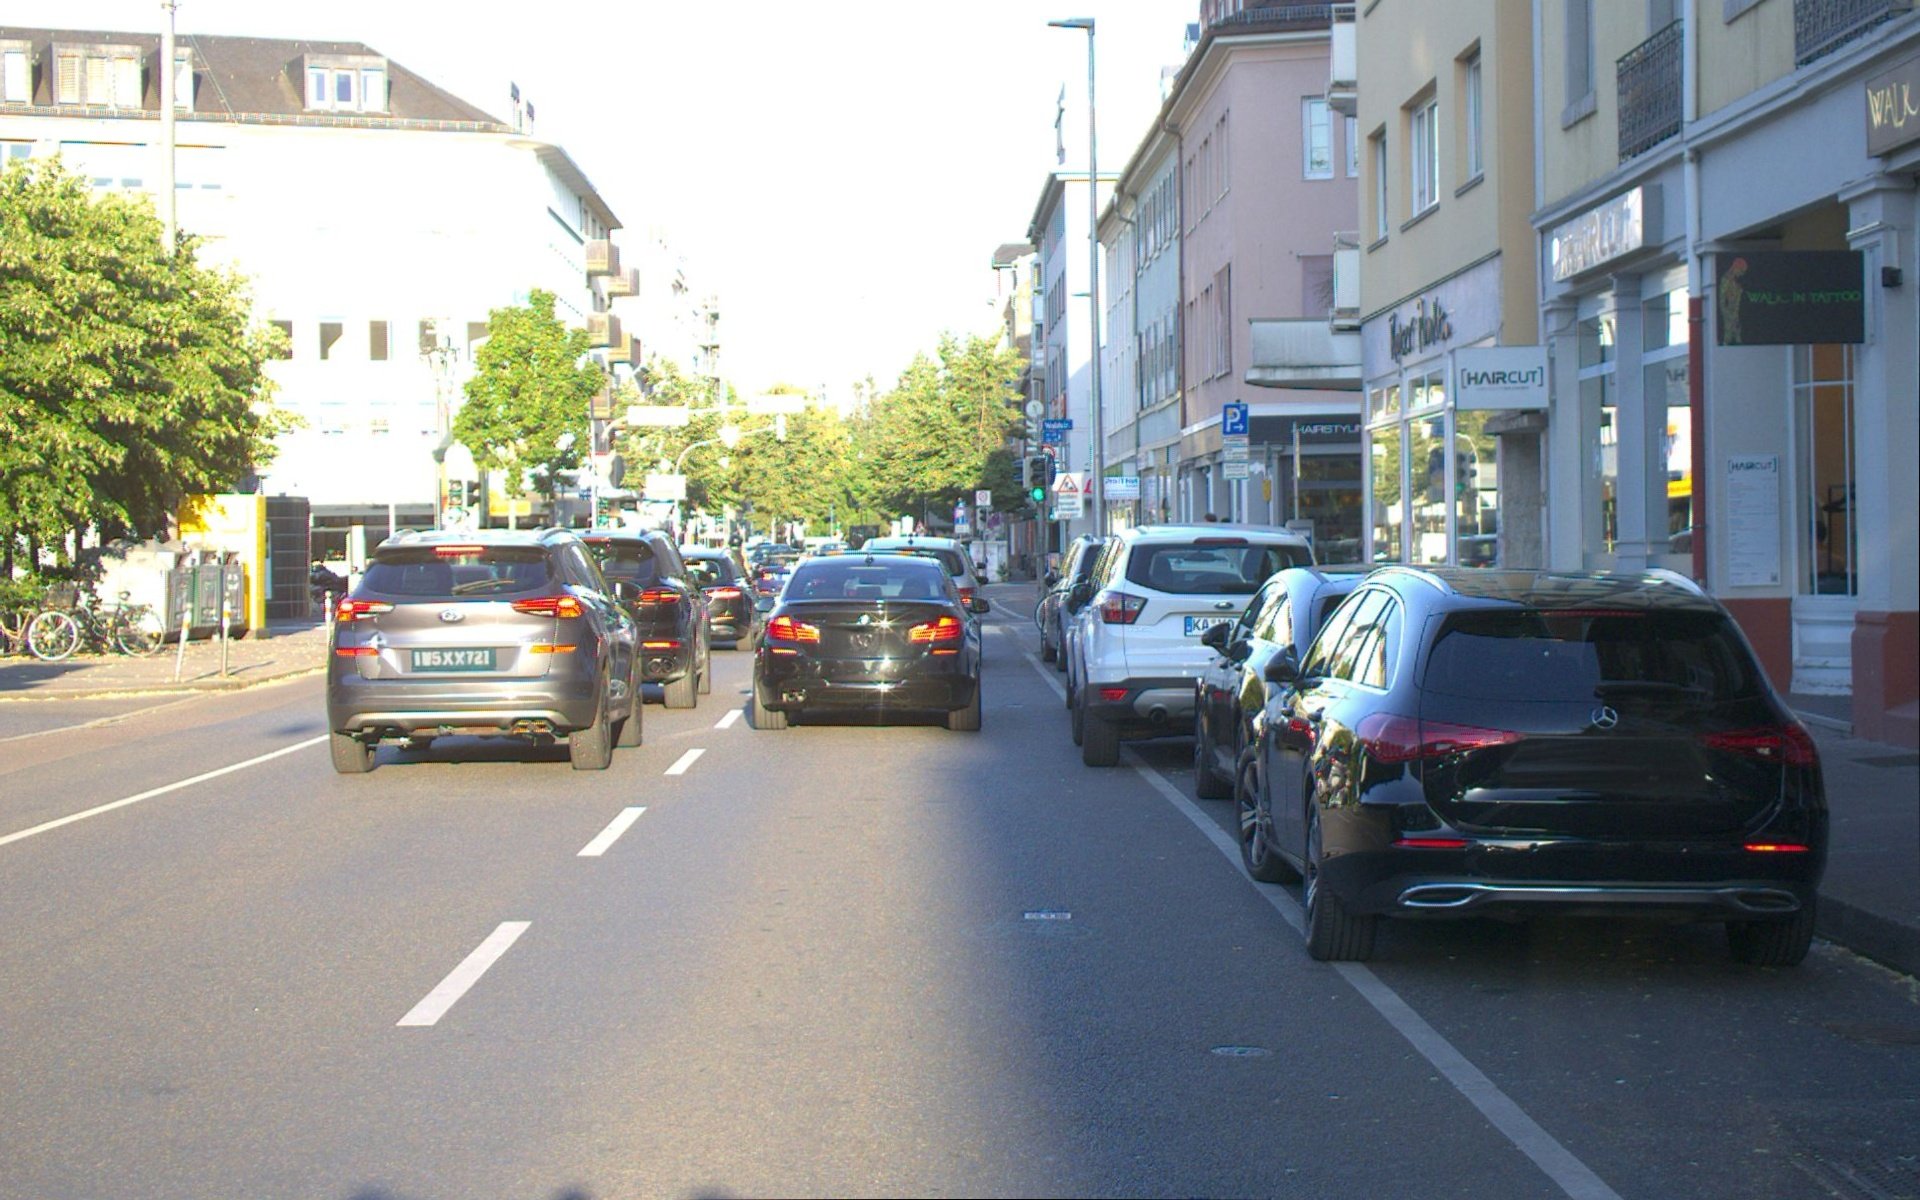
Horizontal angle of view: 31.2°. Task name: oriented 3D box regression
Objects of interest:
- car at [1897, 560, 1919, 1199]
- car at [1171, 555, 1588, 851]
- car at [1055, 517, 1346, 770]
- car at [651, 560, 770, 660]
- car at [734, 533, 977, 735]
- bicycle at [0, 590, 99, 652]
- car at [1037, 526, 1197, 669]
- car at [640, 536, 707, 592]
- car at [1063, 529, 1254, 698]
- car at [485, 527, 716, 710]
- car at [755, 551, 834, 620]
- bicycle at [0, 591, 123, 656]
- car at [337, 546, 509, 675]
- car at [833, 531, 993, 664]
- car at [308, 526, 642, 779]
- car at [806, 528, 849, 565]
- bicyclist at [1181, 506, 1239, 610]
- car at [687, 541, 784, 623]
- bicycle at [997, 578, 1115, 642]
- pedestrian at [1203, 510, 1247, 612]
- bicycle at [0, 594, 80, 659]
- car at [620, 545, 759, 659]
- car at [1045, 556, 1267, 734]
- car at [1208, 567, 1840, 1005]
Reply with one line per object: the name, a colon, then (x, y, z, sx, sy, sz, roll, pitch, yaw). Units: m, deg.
car: (2.498, 0.710, 4.727, 1.532, 1.531, 3.283, 0, 0, 0)
car: (2.230, 0.496, 19.404, 1.729, 1.443, 4.474, 1, 0, -1)
car: (1.656, 0.272, 24.937, 1.729, 1.645, 4.284, 1, 0, -1)
car: (-4.058, 0.140, 56.375, 1.779, 1.542, 4.001, 0, 1, -2)
car: (-0.881, 0.236, 29.212, 1.896, 1.575, 4.000, 1, 1, -2)
bicycle: (-13.532, 0.296, 50.126, 1.825, 0.850, 0.484, 2, 1, -4)
car: (1.889, -0.045, 42.428, 1.729, 1.646, 3.970, 1, 0, 0)
car: (-8.604, -1.103, 103.452, 1.691, 1.547, 3.951, -3, 1, -1)
car: (2.035, 0.119, 36.208, 1.729, 1.646, 3.829, 1, 0, 0)
car: (-3.389, 0.131, 33.092, 1.896, 1.644, 4.105, 0, 1, -2)
car: (-3.833, -0.355, 79.985, 1.779, 1.542, 4.001, 0, 1, -2)
bicycle: (-12.972, 0.329, 49.221, 1.825, 0.850, 0.484, 2, 1, -4)
car: (-7.097, 0.103, 45.771, 1.691, 1.547, 3.951, -3, 1, -1)
car: (-0.618, -0.060, 43.375, 1.896, 1.575, 4.000, 1, 1, -2)
car: (-3.360, 0.308, 24.513, 1.896, 1.644, 4.105, 0, 1, -2)
car: (-5.673, -2.299, 147.509, 1.779, 1.542, 4.001, 0, 1, -2)
bicyclist: (4.293, -0.728, 59.110, 0.832, 1.771, 0.608, 0, 1, 26)
car: (-4.412, -0.381, 67.980, 1.779, 1.542, 4.001, 0, 1, -2)
bicycle: (1.464, 0.146, 52.305, 1.766, 0.963, 0.490, 0, 1, 4)
pedestrian: (4.704, -0.699, 61.044, 0.699, 1.805, 0.635, 0, 1, -4)
bicycle: (-13.137, 0.354, 47.463, 1.825, 0.850, 0.484, 2, 1, -4)
car: (-3.805, -0.006, 48.908, 1.779, 1.542, 4.001, 0, 1, -2)
car: (1.678, 0.358, 30.700, 1.730, 1.445, 4.312, 1, 0, 0)
car: (2.065, 0.610, 13.857, 1.729, 1.443, 4.524, 1, 0, -1)
